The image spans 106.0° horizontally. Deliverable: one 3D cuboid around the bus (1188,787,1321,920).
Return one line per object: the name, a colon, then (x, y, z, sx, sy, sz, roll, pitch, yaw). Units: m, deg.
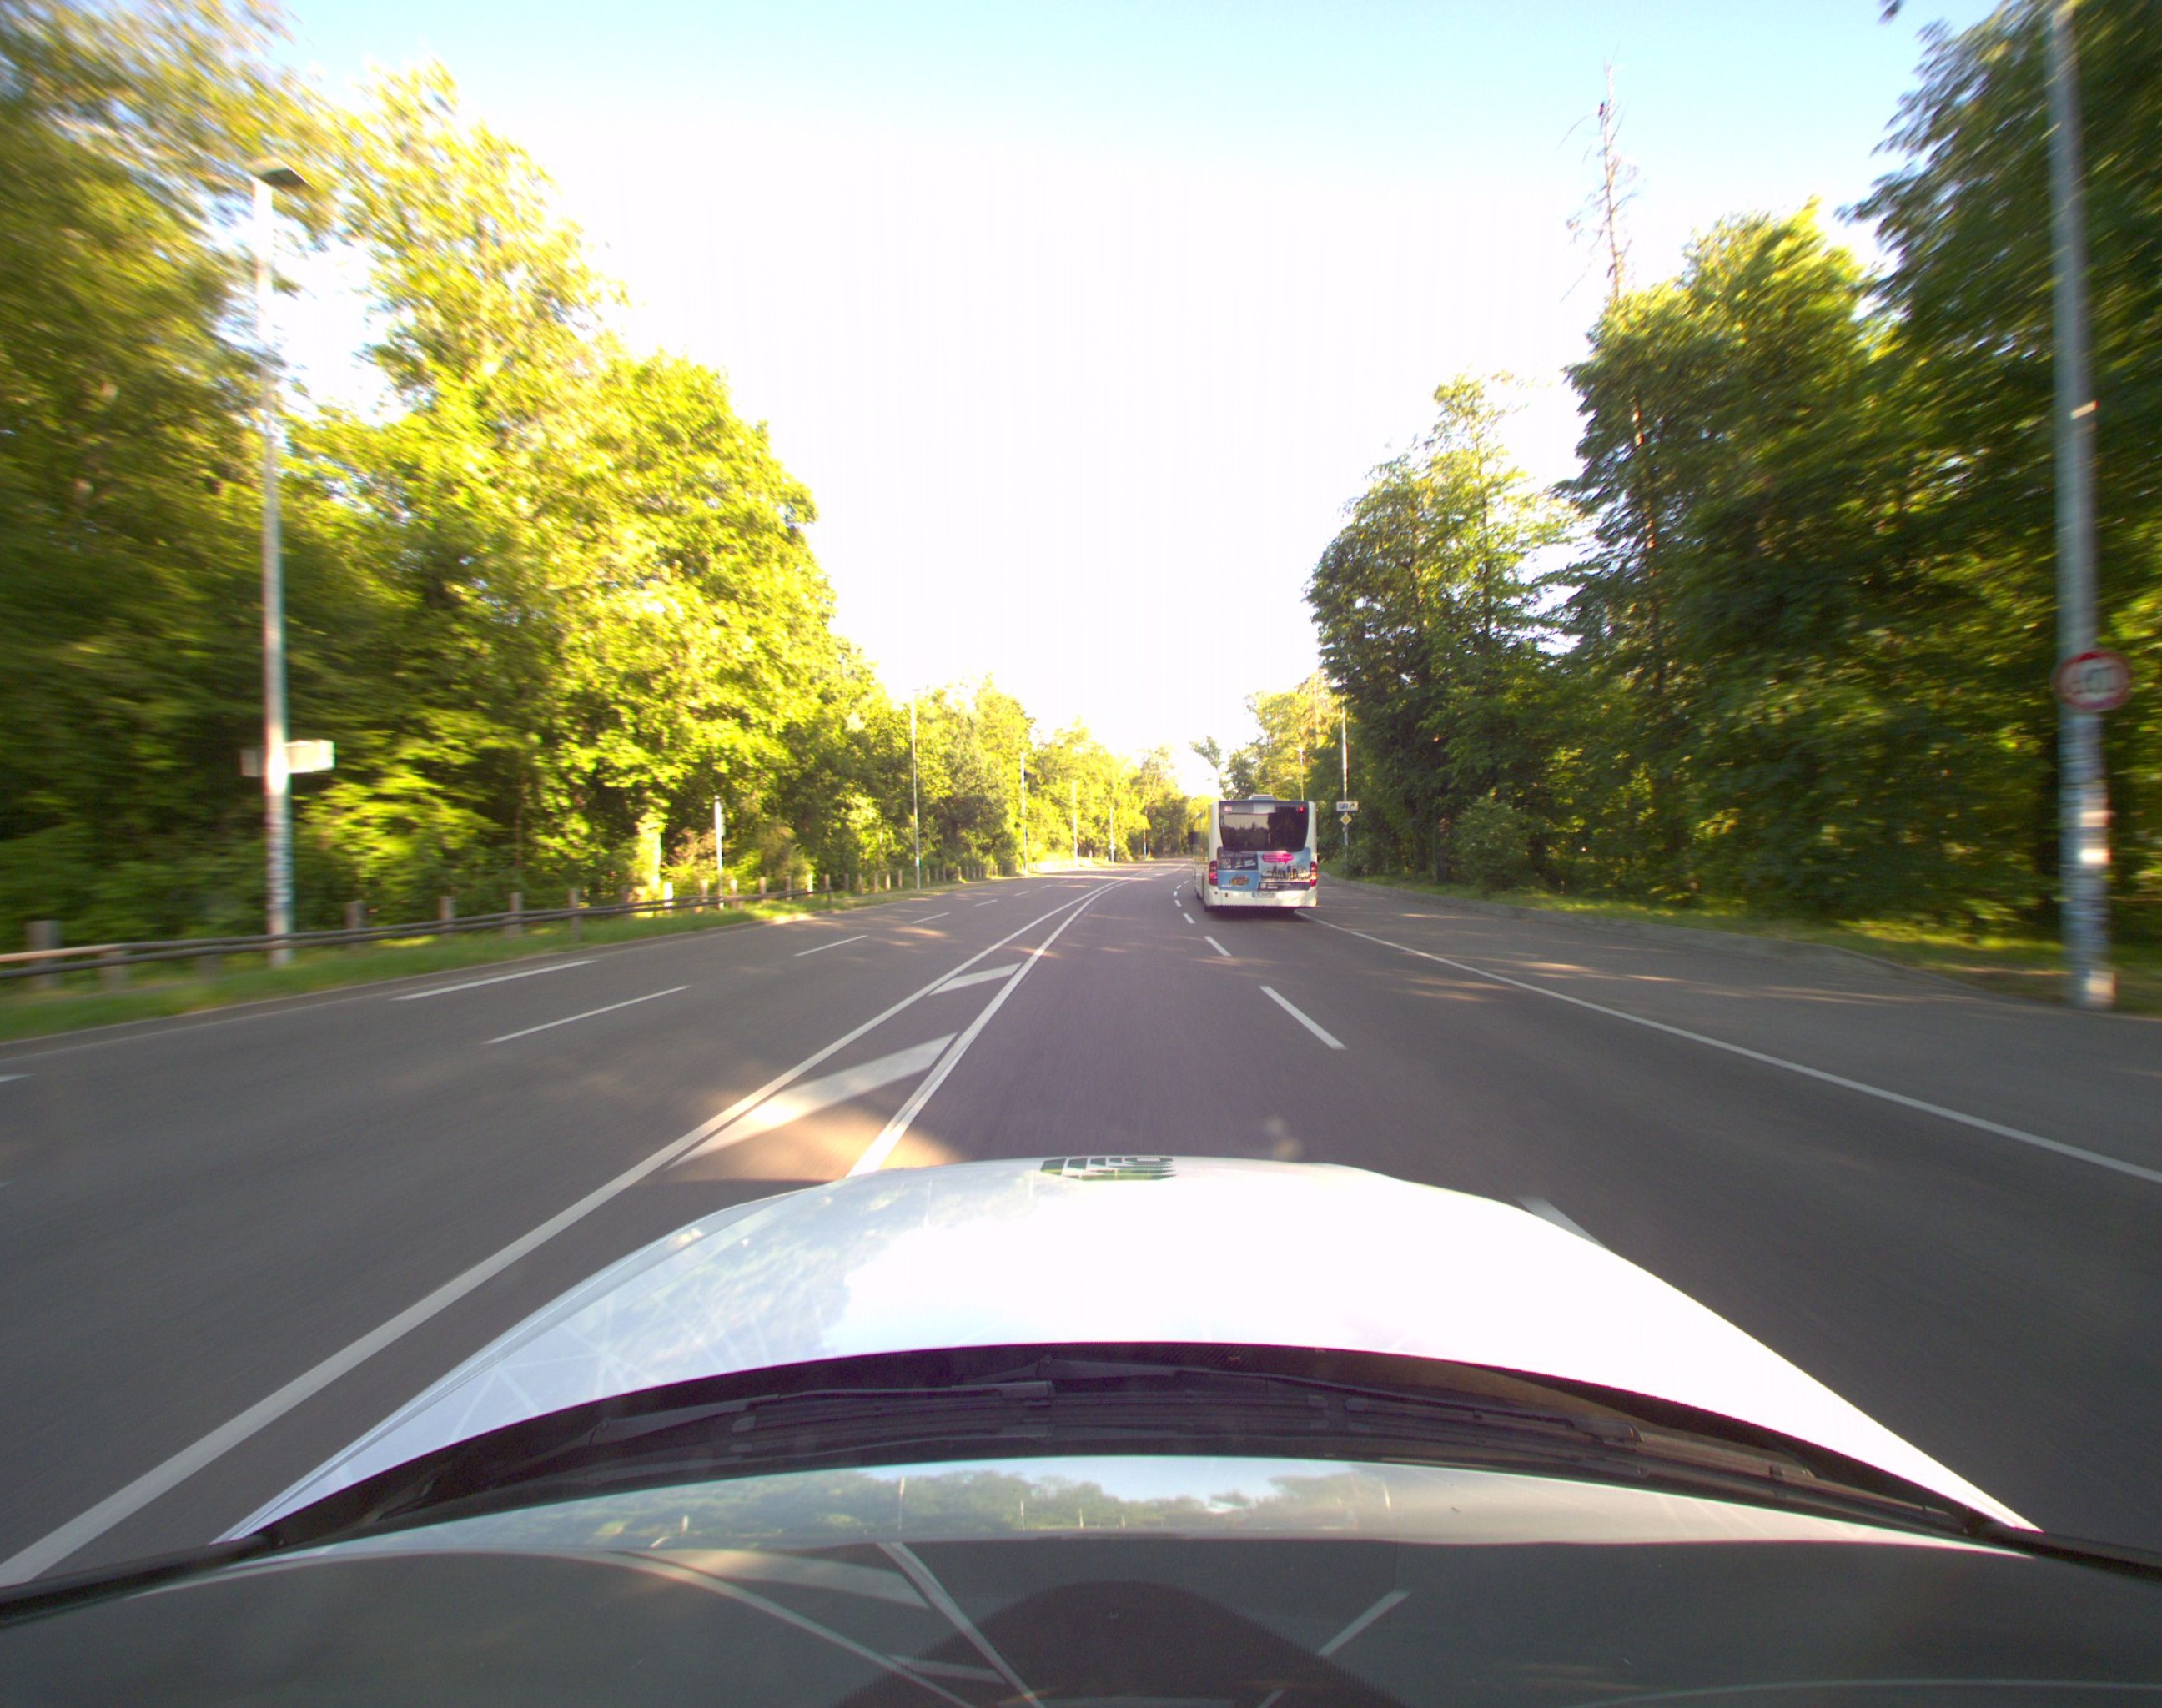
bus: (4.771, 0.025, 24.722, 2.676, 3.042, 12.060, 0, 0, 6)
